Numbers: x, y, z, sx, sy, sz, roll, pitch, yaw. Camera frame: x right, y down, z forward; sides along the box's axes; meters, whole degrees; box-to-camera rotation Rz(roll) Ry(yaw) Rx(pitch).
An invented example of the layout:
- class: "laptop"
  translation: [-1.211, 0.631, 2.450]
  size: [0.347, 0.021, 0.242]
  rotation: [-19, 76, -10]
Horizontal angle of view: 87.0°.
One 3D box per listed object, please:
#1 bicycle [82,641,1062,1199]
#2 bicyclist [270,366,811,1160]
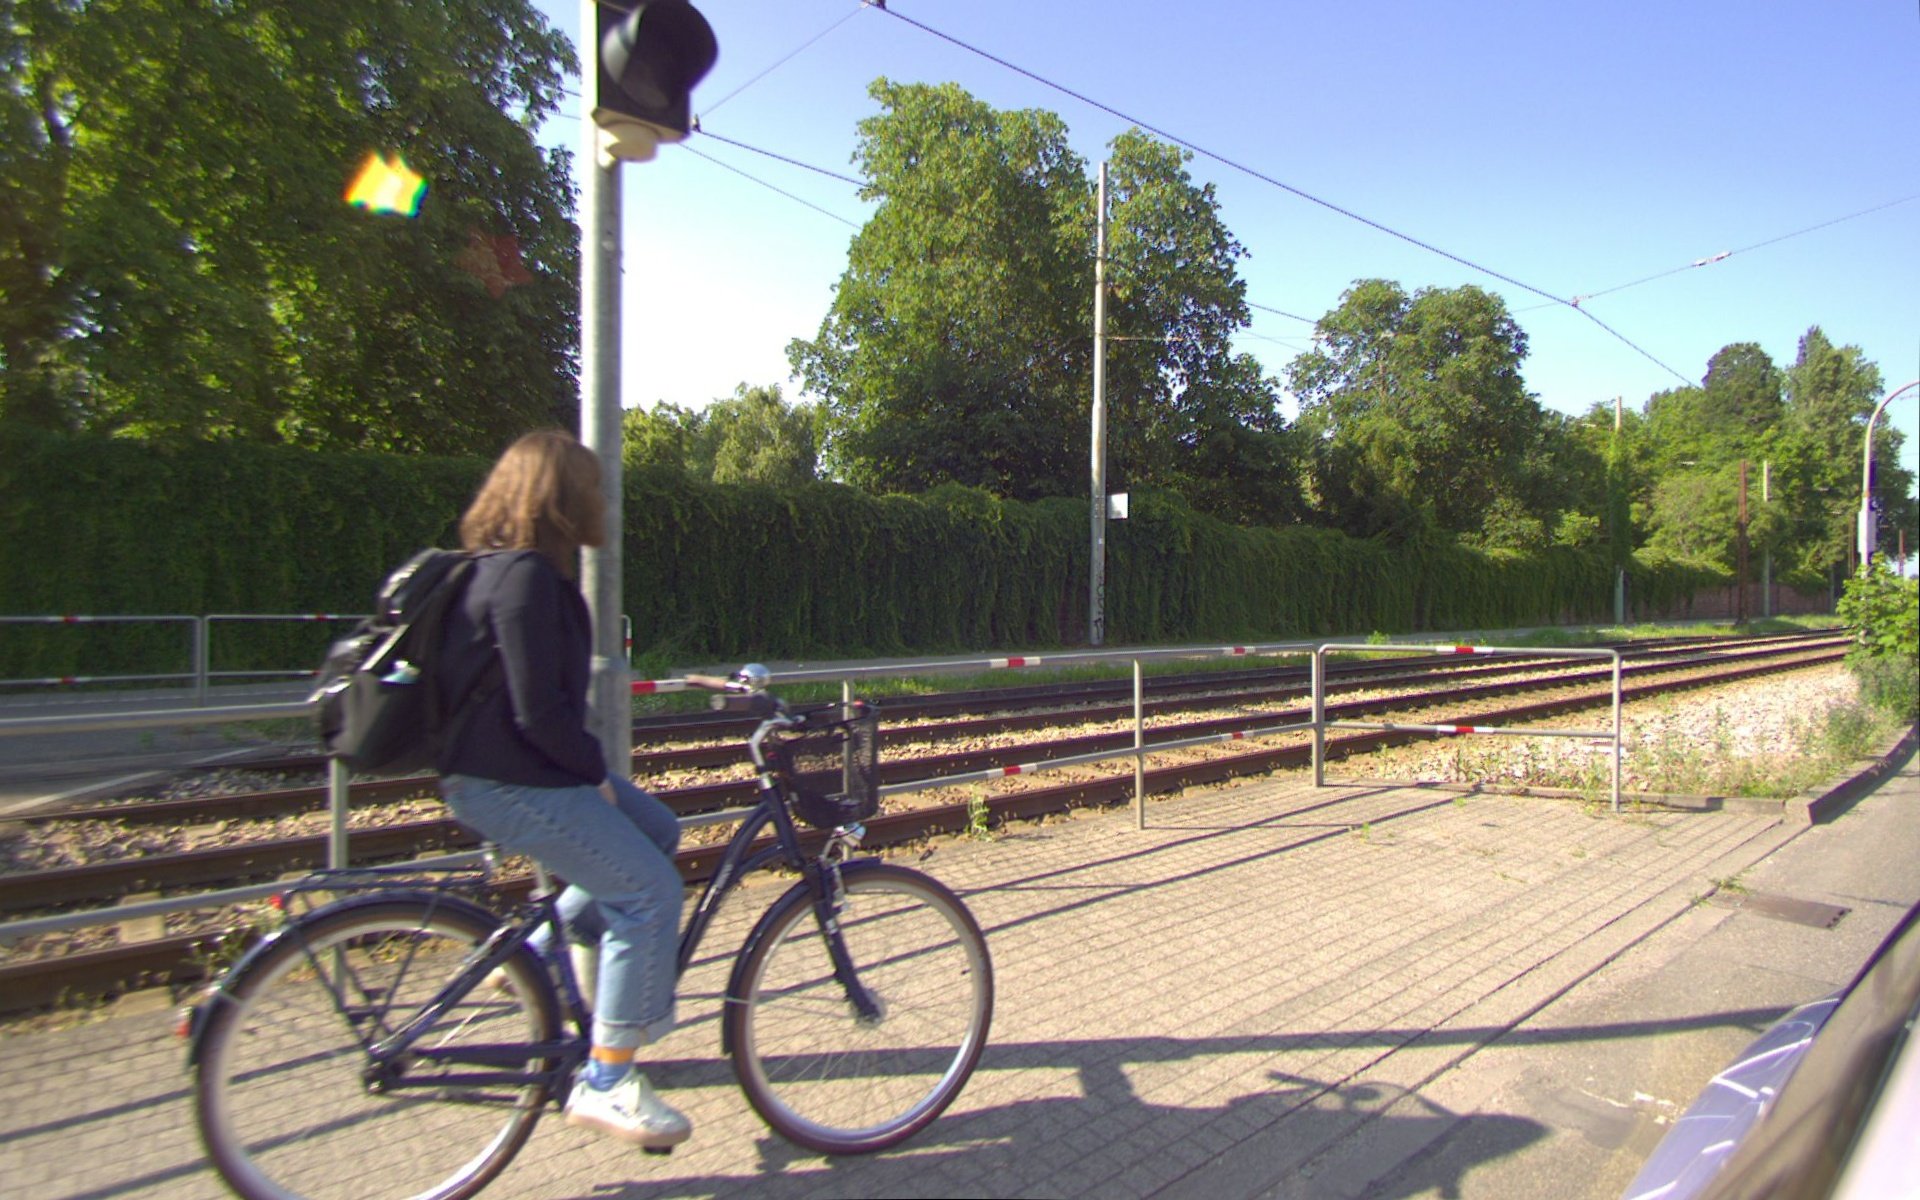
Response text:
- class: "bicycle"
  translation: [-0.751, 0.713, 2.399]
  size: [1.896, 1.168, 0.646]
  rotation: [0, 0, -23]
- class: "bicyclist"
  translation: [-0.913, 0.291, 2.321]
  size: [0.991, 1.434, 0.646]
  rotation: [0, 0, -23]
